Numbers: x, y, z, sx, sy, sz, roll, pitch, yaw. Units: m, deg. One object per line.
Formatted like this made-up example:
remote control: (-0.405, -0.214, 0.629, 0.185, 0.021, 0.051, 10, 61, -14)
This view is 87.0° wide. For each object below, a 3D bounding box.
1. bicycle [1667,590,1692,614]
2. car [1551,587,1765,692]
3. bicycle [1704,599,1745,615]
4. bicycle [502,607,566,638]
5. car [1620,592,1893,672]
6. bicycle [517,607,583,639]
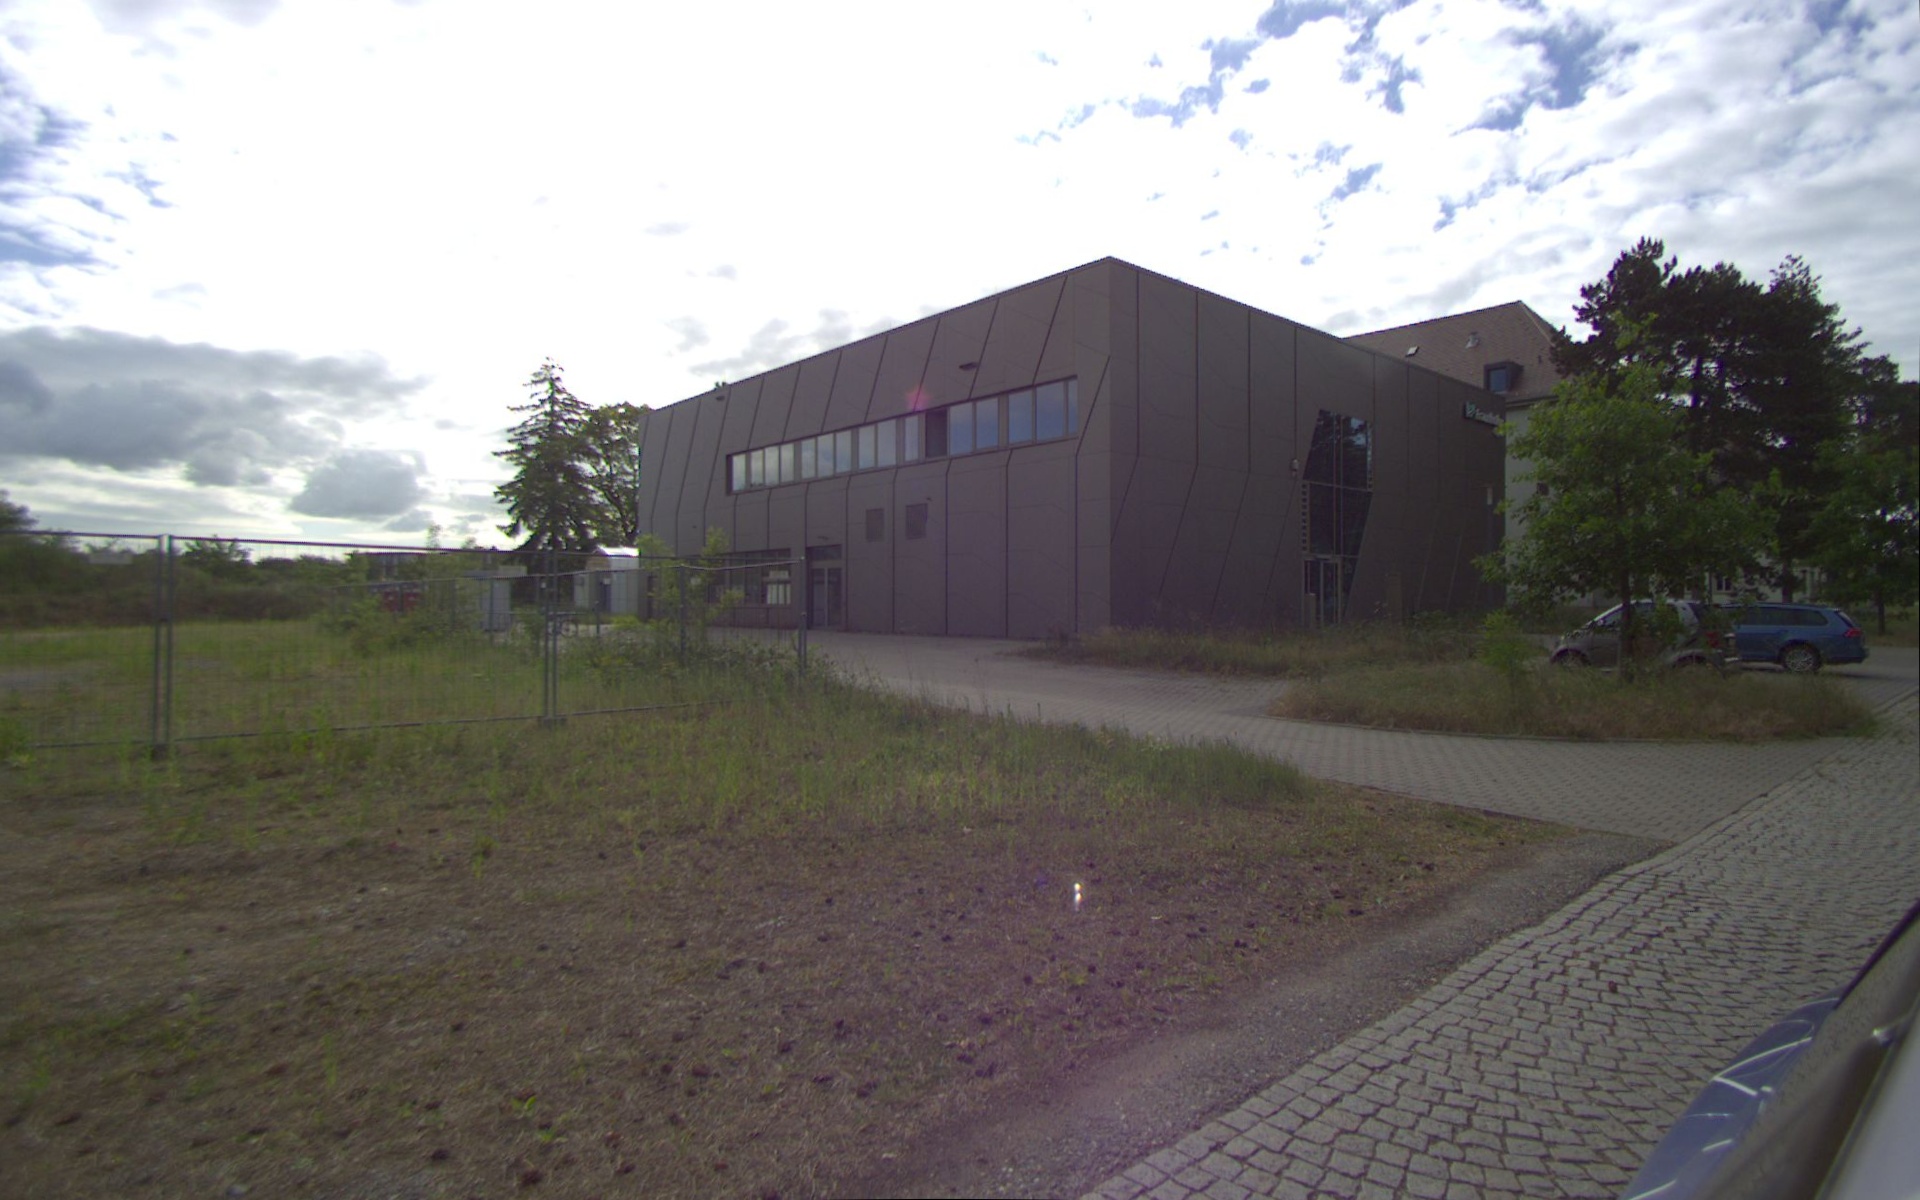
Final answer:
bicycle: (51.745, 0.142, 72.799, 2.159, 1.754, 0.905, 0, 0, -39)
car: (12.202, 0.621, 17.773, 1.653, 1.602, 2.746, 0, 2, -41)
bicycle: (52.592, 0.481, 69.663, 0.705, 1.070, 2.160, 0, 0, -44)
bicycle: (-15.308, 0.798, 36.378, 1.953, 1.038, 0.835, -1, 0, -39)
car: (17.591, 0.617, 22.536, 1.899, 1.468, 4.531, 0, 2, -43)
bicycle: (-14.043, 0.778, 34.676, 1.953, 1.038, 0.835, -1, 0, -39)
